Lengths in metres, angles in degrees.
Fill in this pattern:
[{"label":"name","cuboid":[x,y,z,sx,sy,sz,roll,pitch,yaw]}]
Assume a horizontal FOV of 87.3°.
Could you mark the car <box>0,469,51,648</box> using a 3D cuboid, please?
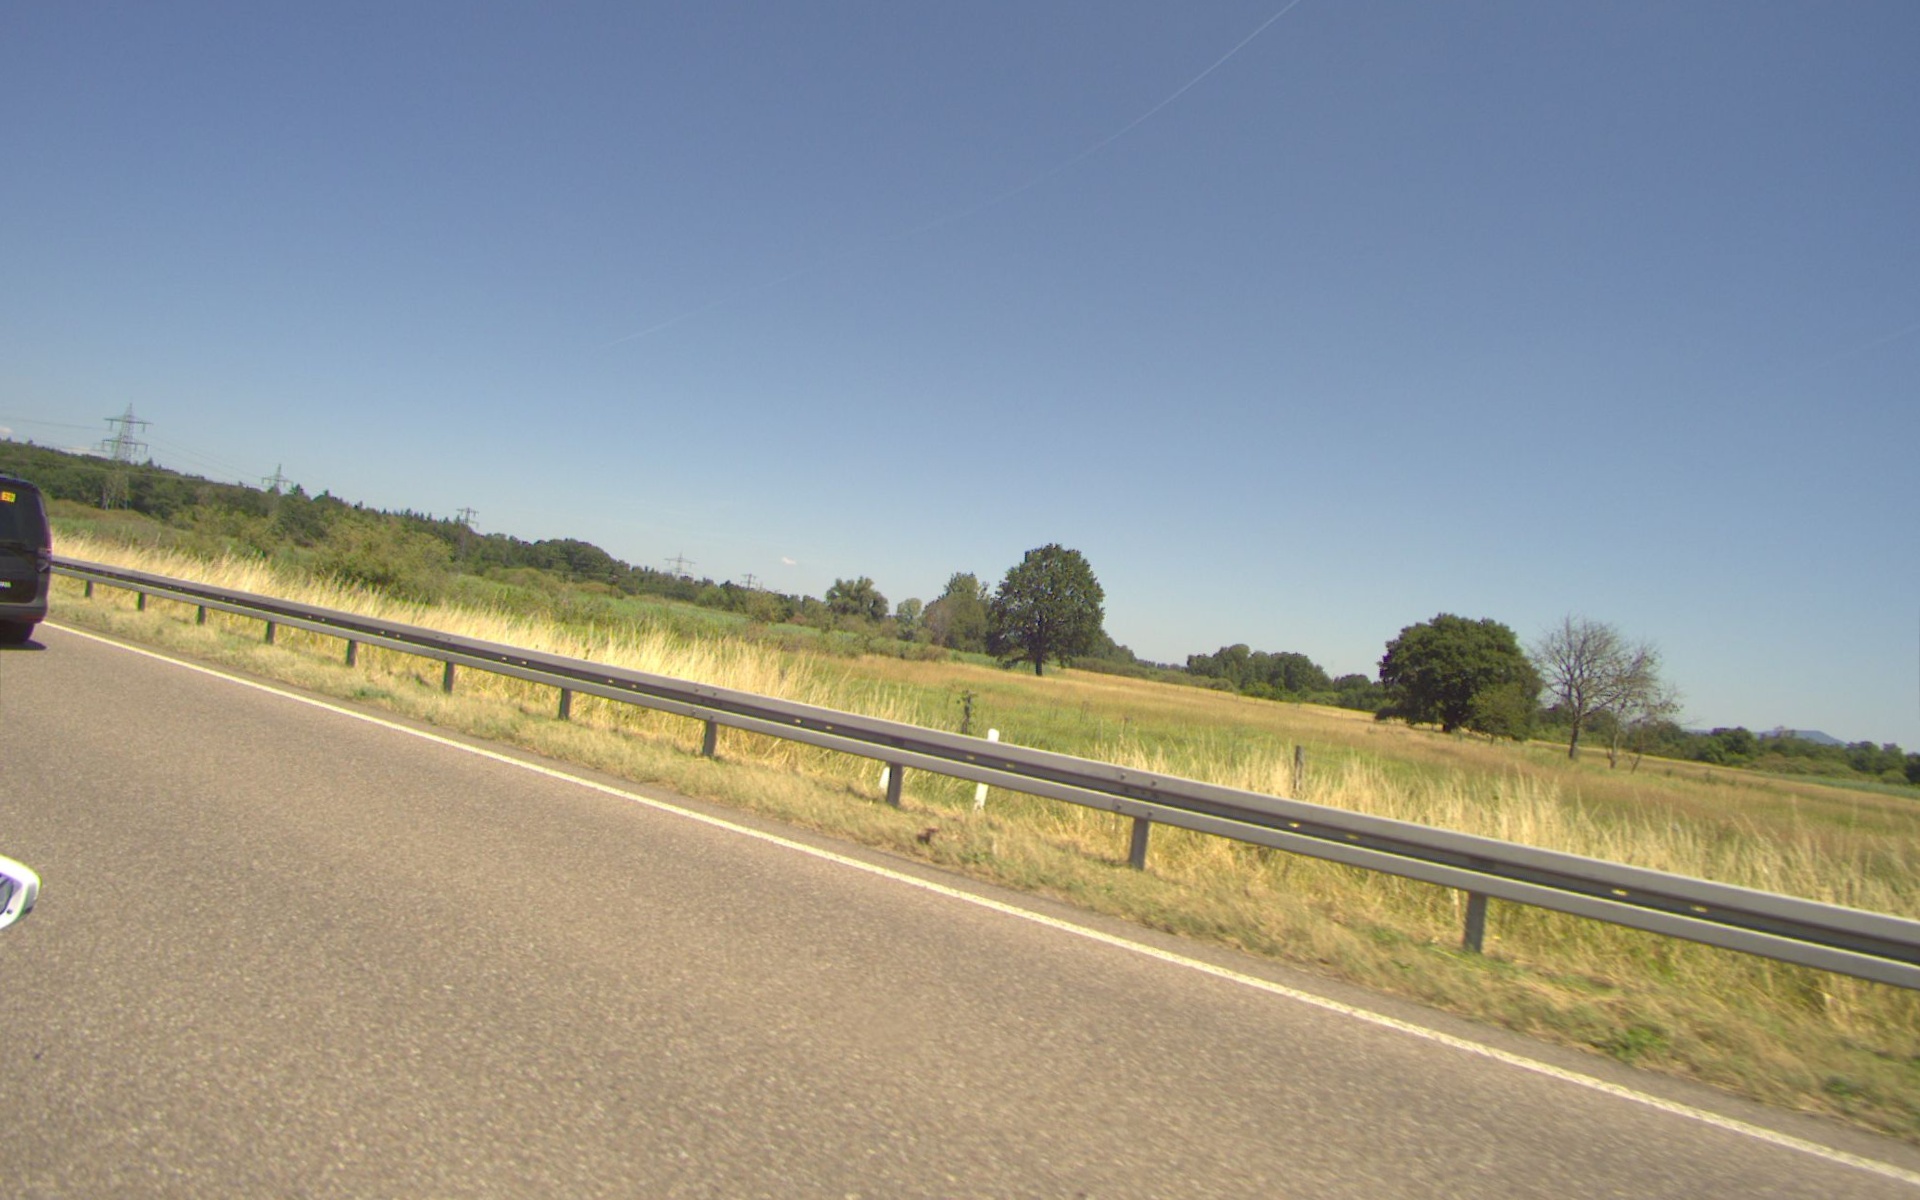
[{"label":"car","cuboid":[-12.058,-0.688,11.067,4.142,1.838,1.784,6,-2,31]}]
